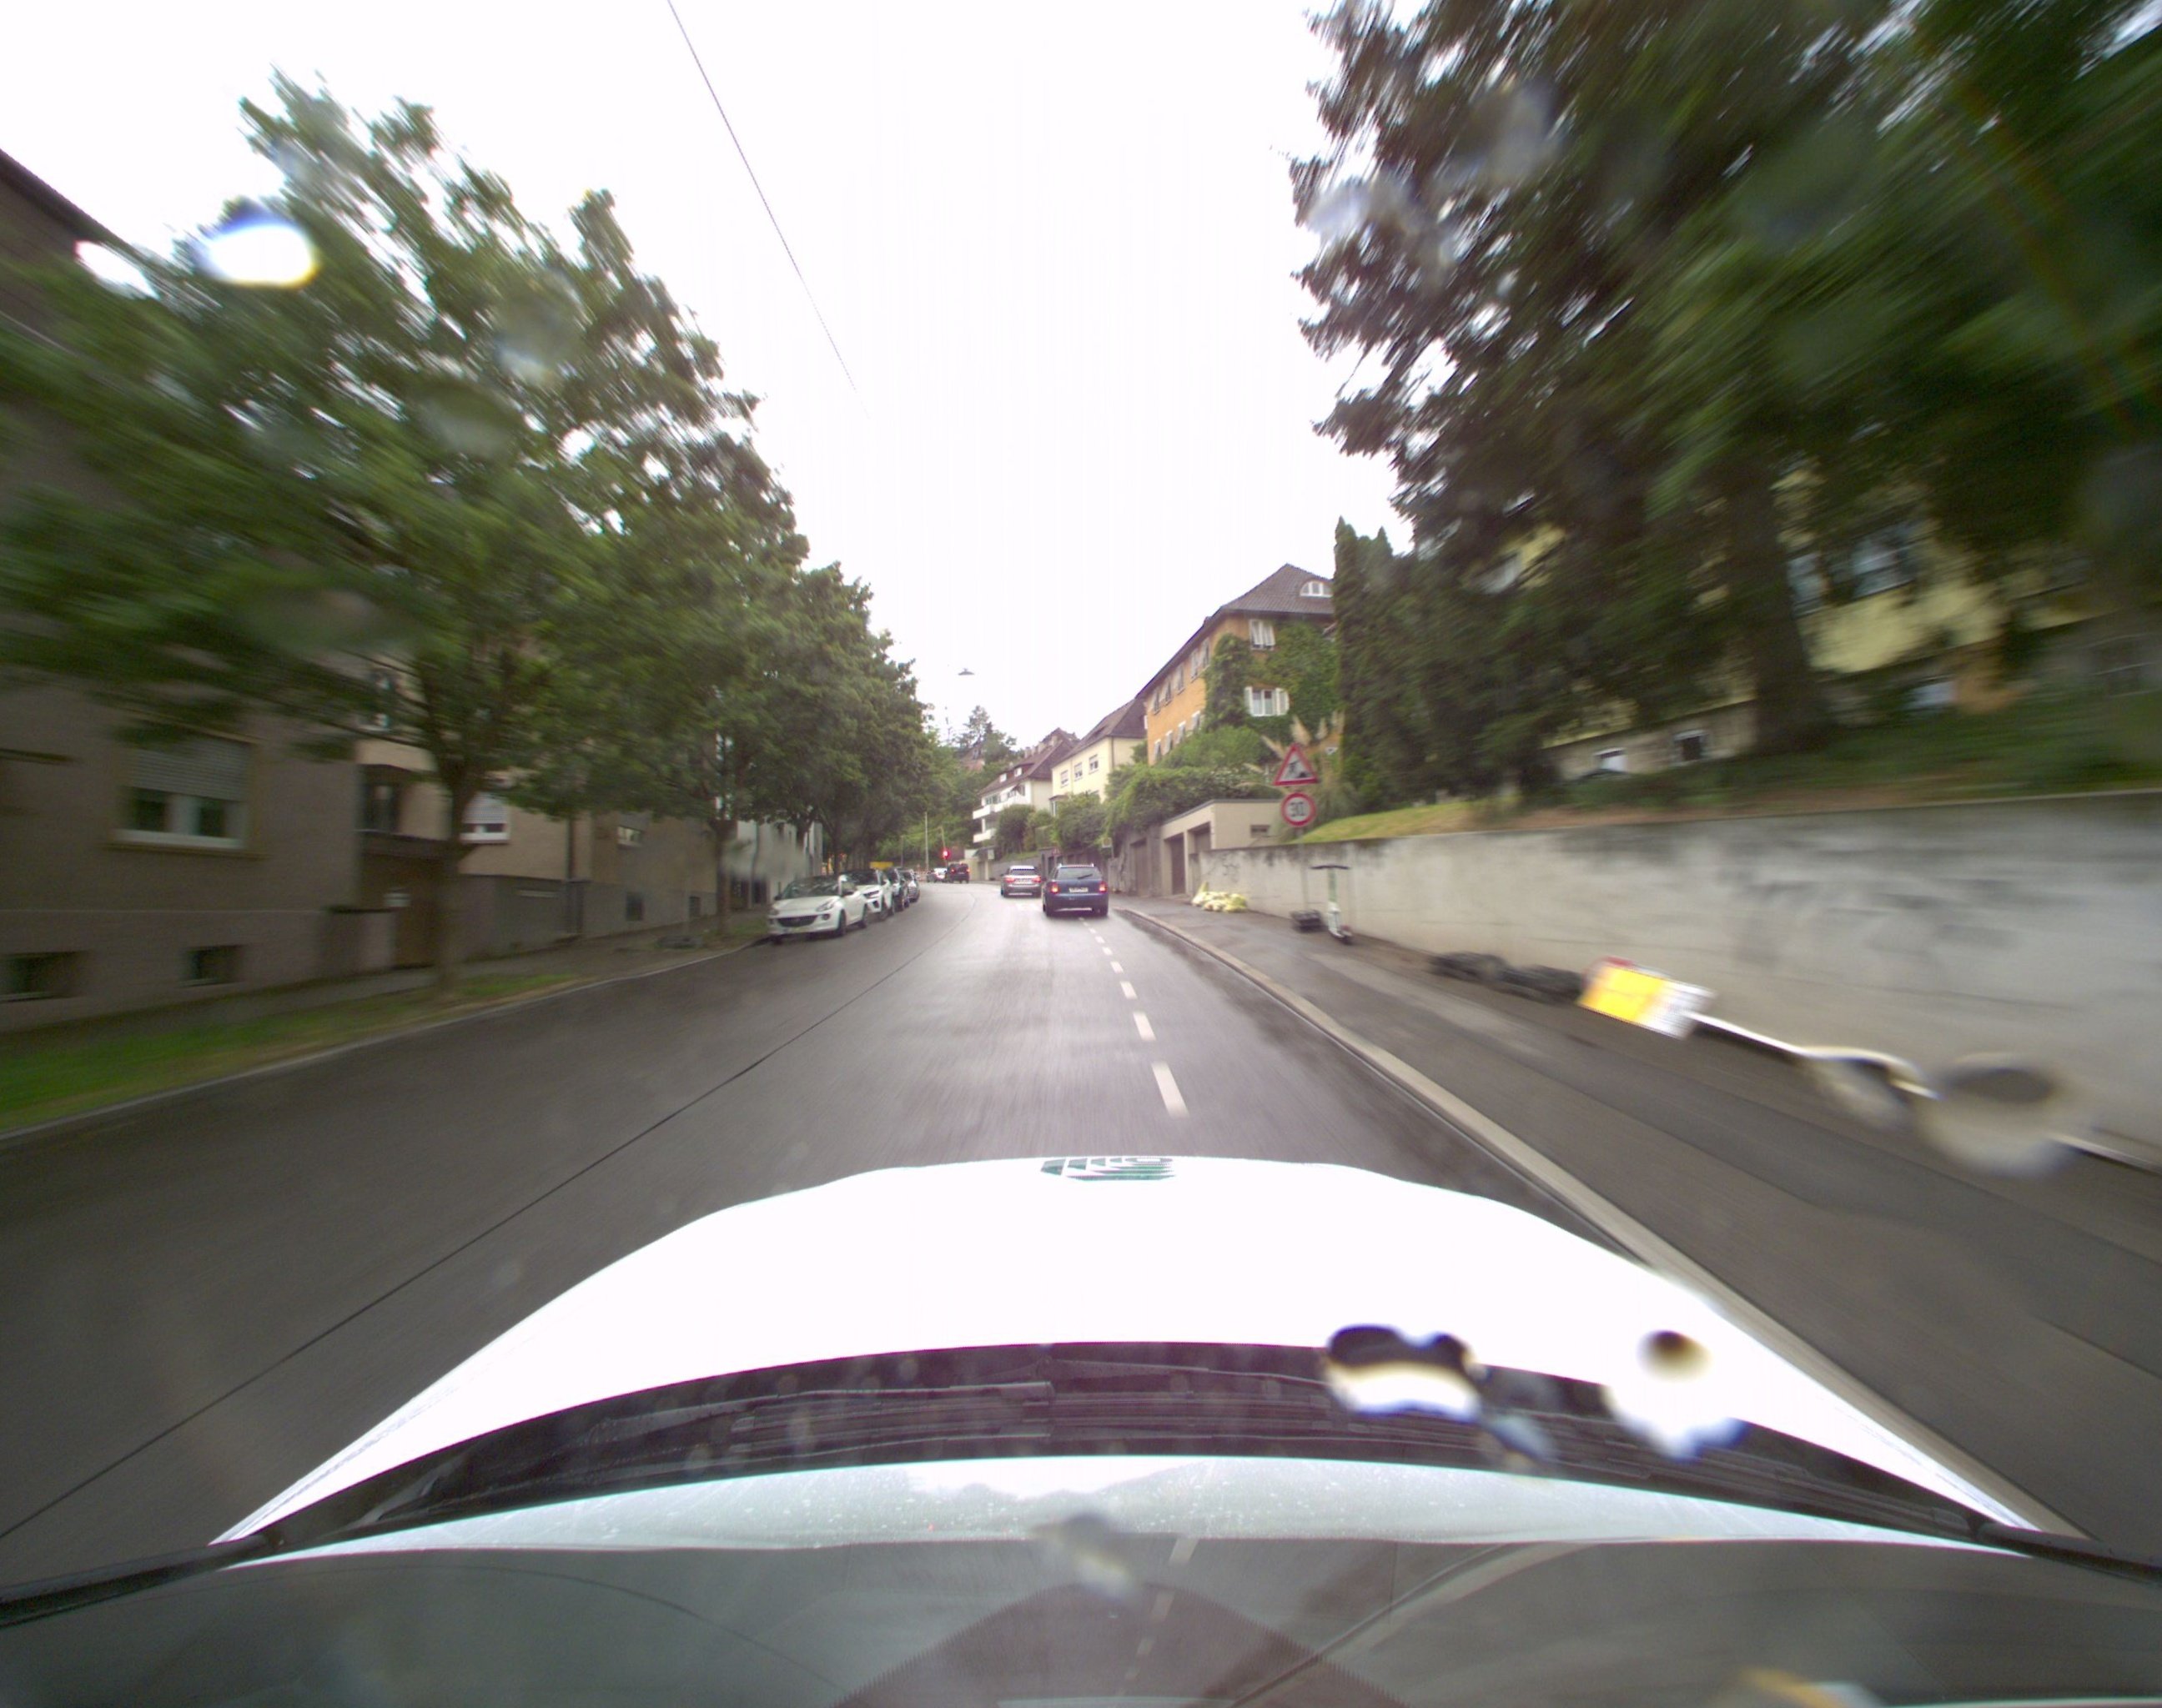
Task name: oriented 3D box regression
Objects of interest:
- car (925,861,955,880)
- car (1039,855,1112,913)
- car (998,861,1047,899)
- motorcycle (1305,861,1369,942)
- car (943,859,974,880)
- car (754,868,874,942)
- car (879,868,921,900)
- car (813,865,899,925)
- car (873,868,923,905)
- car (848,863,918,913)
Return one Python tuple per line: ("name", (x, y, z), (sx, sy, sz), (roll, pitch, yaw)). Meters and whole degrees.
("car", (-13.792, 1.650, 79.567), (2.002, 1.684, 3.970), (-3, -1, -22))
("car", (-0.245, 0.849, 23.903), (1.850, 1.414, 4.356), (-4, -1, -3))
("car", (-2.874, 1.192, 39.325), (1.950, 1.561, 4.249), (-2, 1, -10))
("motorcycle", (3.859, 0.688, 12.364), (0.546, 1.131, 1.441), (-3, -1, 3))
("car", (-11.157, 1.435, 74.202), (2.000, 1.684, 3.973), (-3, -1, -20))
("car", (-6.452, 1.174, 20.179), (1.992, 1.530, 3.990), (-3, -1, -7))
("car", (-9.525, 1.550, 43.031), (1.995, 1.475, 3.983), (-4, -1, -12))
("car", (-6.803, 1.196, 25.049), (1.876, 1.596, 3.990), (-3, -1, -7))
("car", (-8.391, 1.469, 37.684), (1.994, 1.475, 3.985), (-4, -1, -10))
("car", (-7.312, 1.236, 30.478), (1.992, 1.574, 3.989), (-4, -1, -8))
